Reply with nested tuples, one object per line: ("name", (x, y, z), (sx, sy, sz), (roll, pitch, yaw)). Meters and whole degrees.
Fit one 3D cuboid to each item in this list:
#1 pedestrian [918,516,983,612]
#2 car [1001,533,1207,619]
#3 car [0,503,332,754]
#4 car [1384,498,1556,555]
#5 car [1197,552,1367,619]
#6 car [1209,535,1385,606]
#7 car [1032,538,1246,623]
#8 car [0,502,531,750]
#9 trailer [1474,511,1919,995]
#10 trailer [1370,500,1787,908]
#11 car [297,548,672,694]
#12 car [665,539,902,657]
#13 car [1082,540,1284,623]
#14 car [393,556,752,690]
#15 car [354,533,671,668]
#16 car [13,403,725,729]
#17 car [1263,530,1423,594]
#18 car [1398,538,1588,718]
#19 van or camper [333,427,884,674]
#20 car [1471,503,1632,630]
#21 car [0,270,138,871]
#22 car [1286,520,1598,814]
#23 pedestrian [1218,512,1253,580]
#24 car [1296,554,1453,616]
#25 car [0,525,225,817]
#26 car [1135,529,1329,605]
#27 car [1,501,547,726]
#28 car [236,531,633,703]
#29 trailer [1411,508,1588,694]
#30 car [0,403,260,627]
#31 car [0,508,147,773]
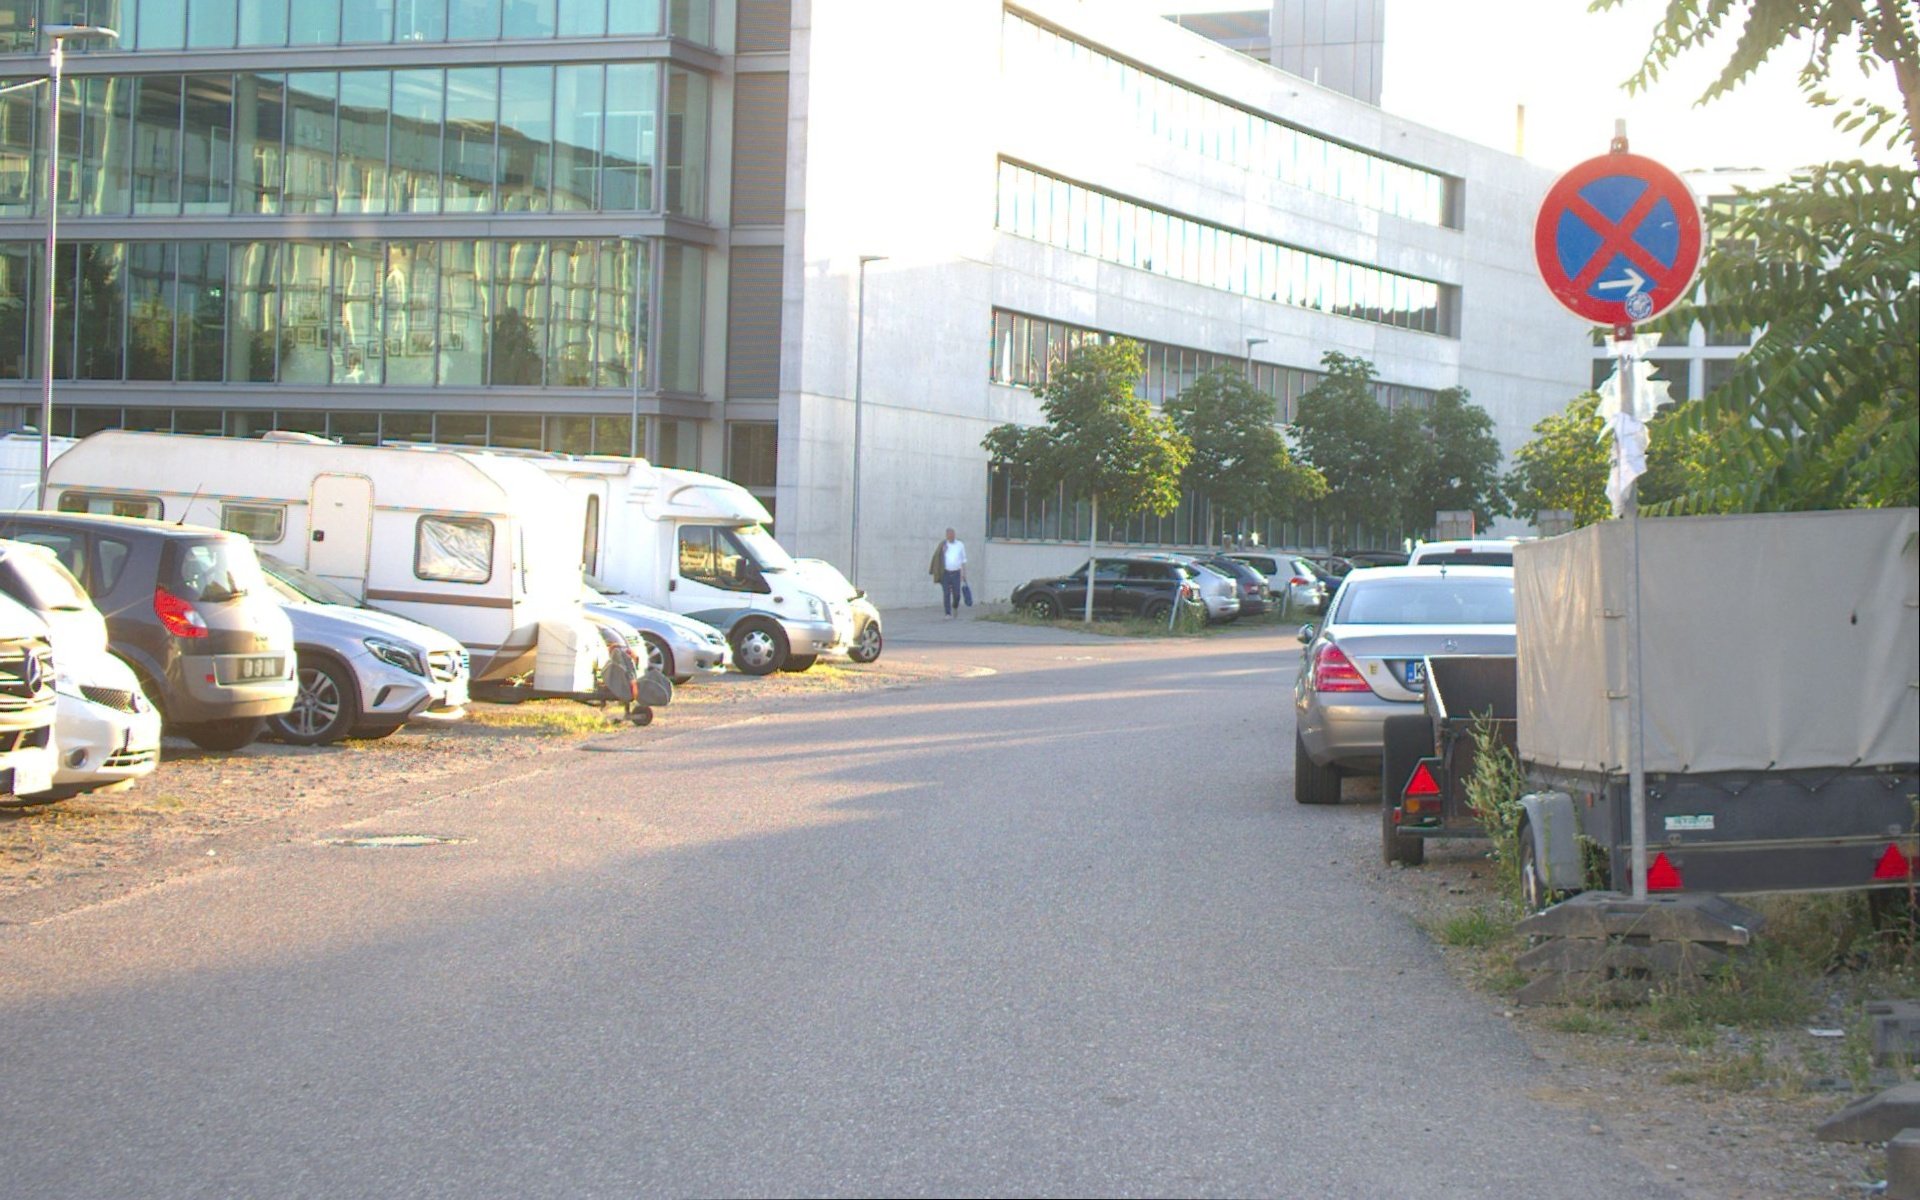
("pedestrian", (-0.193, -0.700, 66.758), (0.899, 1.844, 0.856), (0, 2, -37))
("car", (2.886, -0.495, 68.600), (3.737, 1.477, 1.768), (3, 2, 15))
("car", (-6.571, 0.125, 23.878), (3.928, 1.585, 1.747), (3, 1, 13))
("car", (14.379, -2.073, 96.981), (4.440, 1.459, 1.760), (2, 2, 27))
("car", (7.520, -0.347, 80.317), (3.636, 1.357, 1.685), (3, 2, 17))
("car", (8.191, -0.730, 83.585), (3.874, 1.506, 1.758), (3, 2, 22))
("car", (3.732, -0.412, 71.413), (4.089, 1.523, 1.845), (3, 2, 15))
("car", (-5.618, 0.163, 26.610), (4.129, 1.585, 1.747), (4, 1, 13))
("trailer", (2.795, 0.504, 13.170), (1.250, 1.659, 2.803), (0, 1, 1))
("trailer", (2.986, 0.416, 17.459), (1.731, 1.771, 4.936), (0, 1, 6))
("car", (-5.189, 0.206, 37.774), (3.727, 1.362, 1.705), (3, 1, 6))
("car", (-2.451, -0.020, 48.859), (1.688, 1.514, 4.356), (3, 1, 21))
("car", (4.768, -0.416, 73.297), (4.001, 1.507, 1.584), (3, 3, 15))
("car", (-4.500, 0.245, 40.169), (3.809, 1.324, 1.692), (3, 1, 8))
("car", (-5.577, -0.013, 43.092), (3.605, 1.471, 1.692), (3, 1, 5))
("car", (-5.389, -0.362, 31.688), (5.891, 2.525, 2.411), (4, 2, 11))
("car", (9.839, -0.975, 88.287), (3.706, 1.452, 1.709), (3, 1, 22))
("car", (5.897, 0.250, 37.681), (1.772, 1.825, 4.406), (1, 1, 12))
("van or camper", (-4.609, -0.673, 45.491), (6.743, 2.887, 2.408), (3, 1, 10))
("car", (10.293, -0.599, 59.556), (2.067, 2.087, 4.868), (1, 1, 18))
("car", (-7.154, -0.322, 16.345), (5.826, 2.703, 2.050), (4, 1, 3))
("car", (3.090, 0.357, 22.586), (1.806, 1.719, 4.927), (0, 1, 6))
("pedestrian", (7.285, -1.425, 90.829), (0.646, 1.778, 0.724), (3, 1, 21))
("car", (10.920, -0.401, 90.576), (3.707, 1.452, 1.677), (3, 1, 24))
("car", (-6.295, 0.293, 19.068), (3.926, 1.502, 1.789), (3, 1, 5))
("car", (6.188, -0.766, 78.147), (3.992, 1.506, 1.758), (3, 2, 22))
("car", (-5.801, 0.102, 29.292), (4.127, 1.585, 1.747), (4, 0, 8))
("car", (-5.328, 0.149, 35.122), (3.629, 1.514, 1.705), (3, 1, 6))
("trailer", (6.945, -0.034, 43.913), (2.065, 2.204, 5.220), (1, 1, 10))
("car", (-12.428, -1.176, 44.289), (6.247, 2.664, 2.221), (3, 1, 15))
("car", (-7.366, 0.173, 21.715), (3.926, 1.585, 1.748), (3, 0, 5))
